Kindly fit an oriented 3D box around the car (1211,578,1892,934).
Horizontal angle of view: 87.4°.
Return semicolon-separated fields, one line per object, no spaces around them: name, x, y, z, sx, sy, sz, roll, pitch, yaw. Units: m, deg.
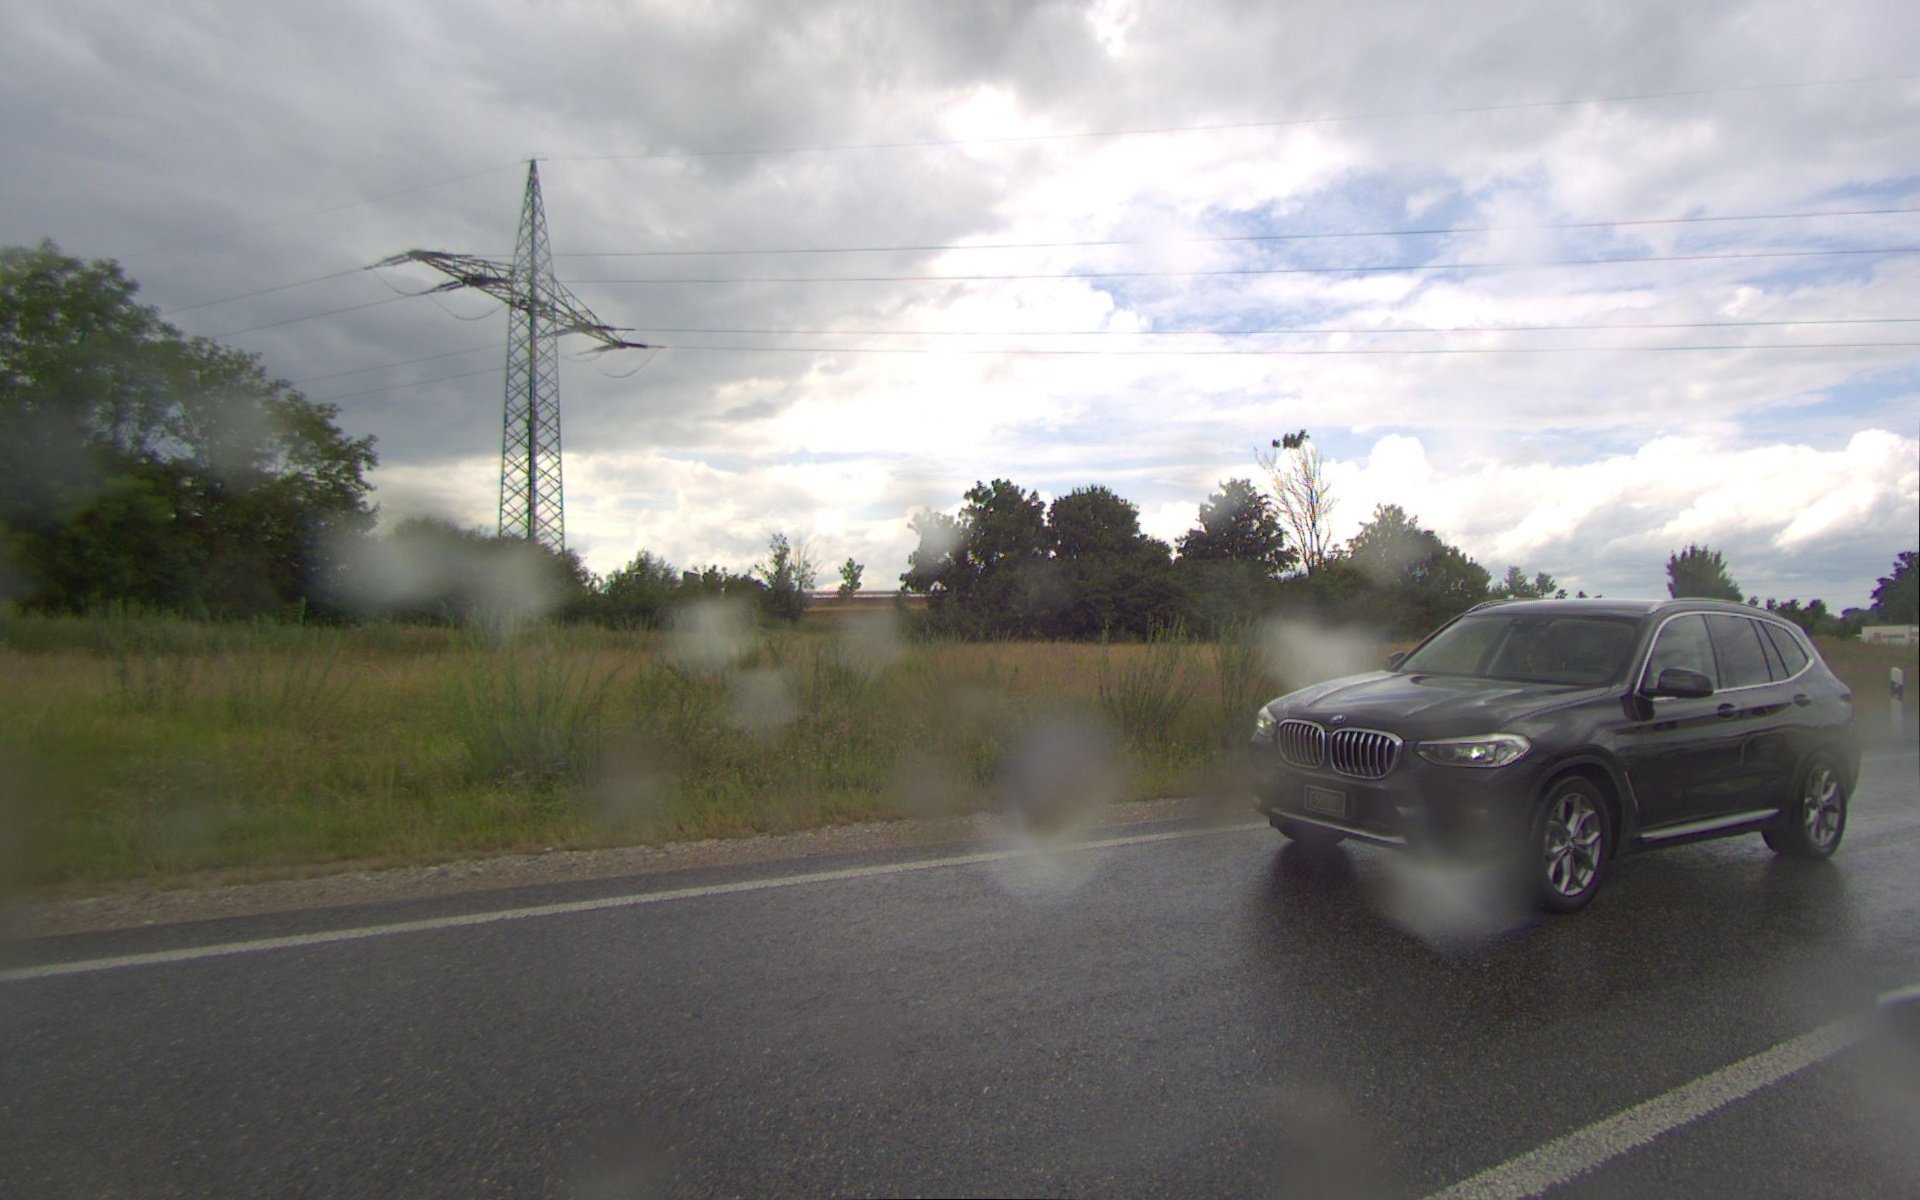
car;3.971;0.793;6.577;4.479;1.653;1.841;2;-1;-29

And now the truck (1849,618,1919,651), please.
truck;96.691;3.566;104.106;2.962;3.252;8.238;3;0;11
